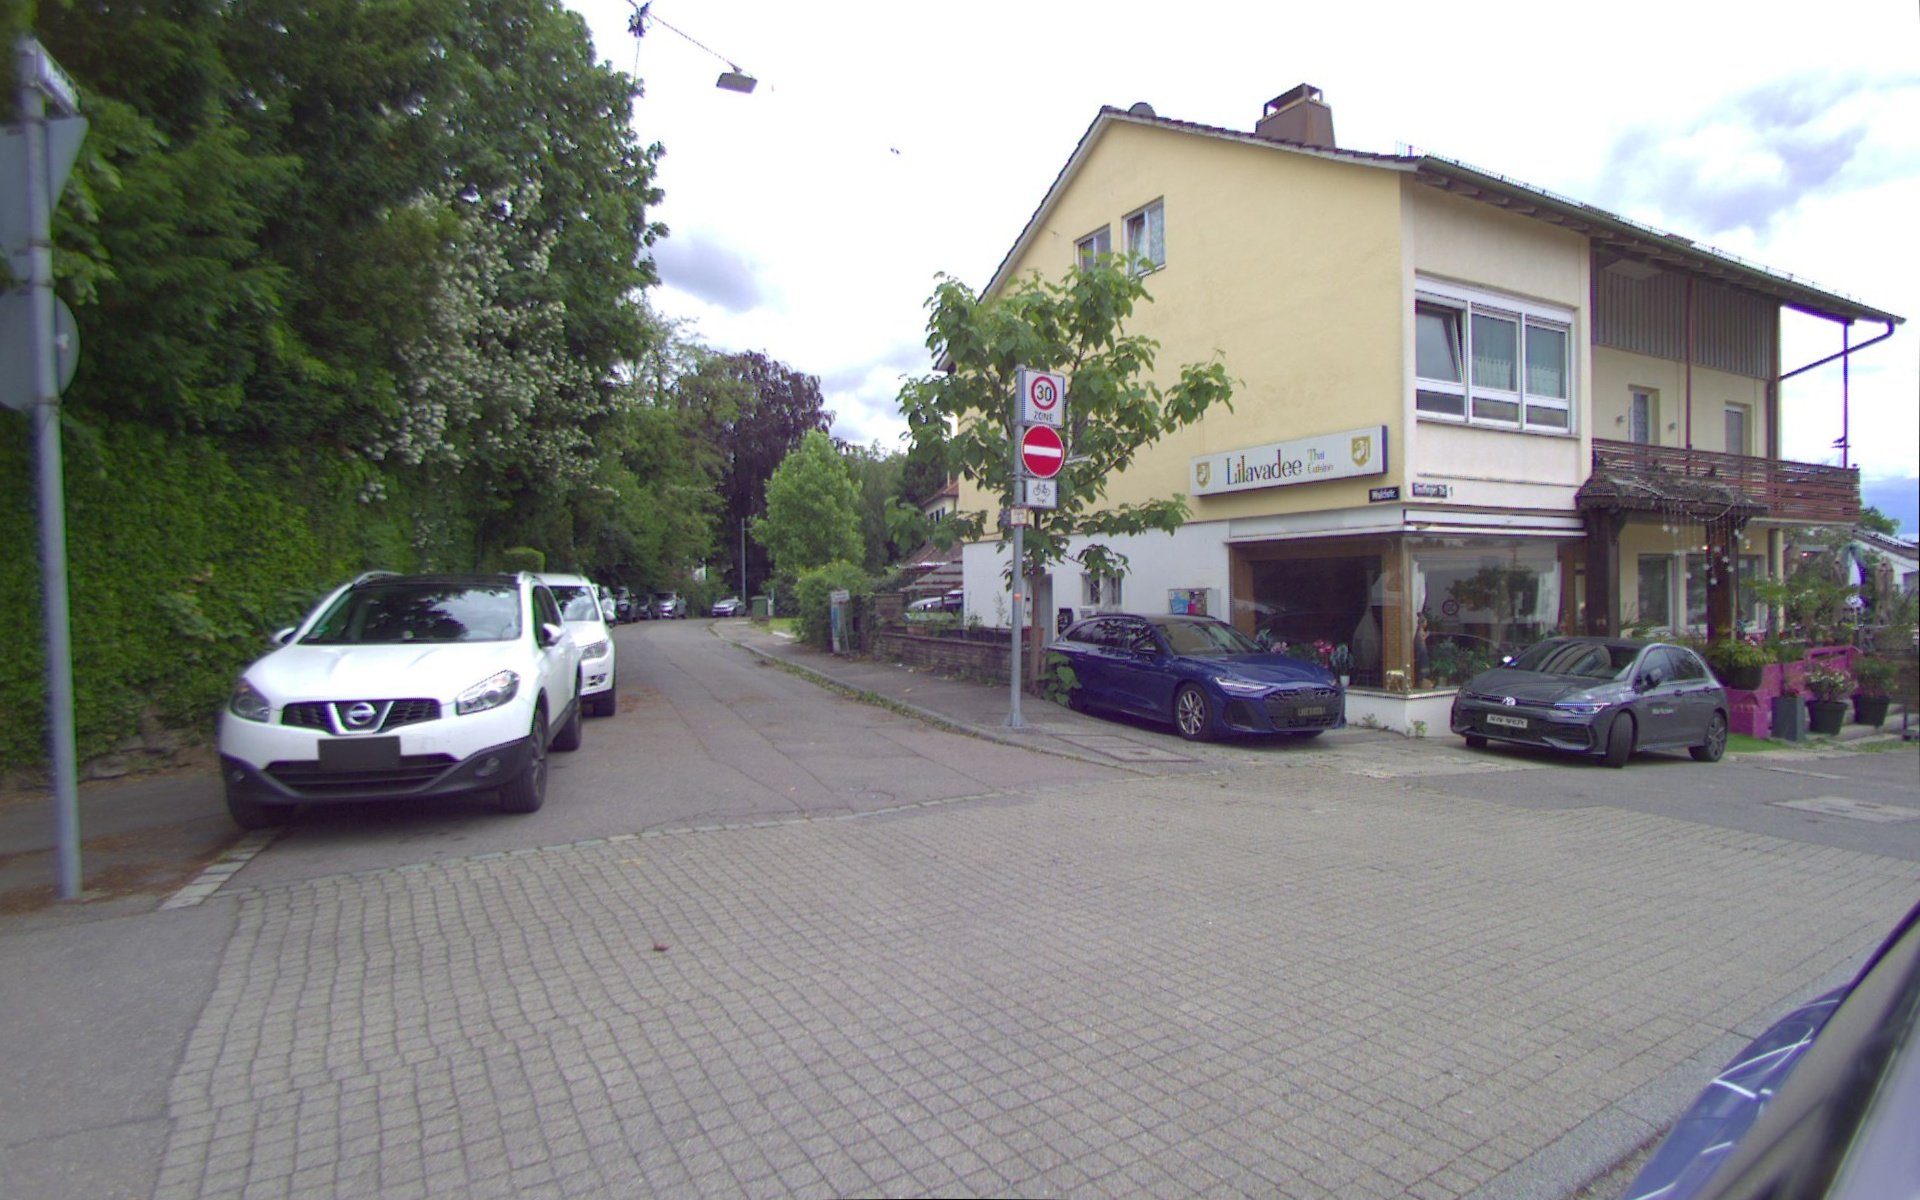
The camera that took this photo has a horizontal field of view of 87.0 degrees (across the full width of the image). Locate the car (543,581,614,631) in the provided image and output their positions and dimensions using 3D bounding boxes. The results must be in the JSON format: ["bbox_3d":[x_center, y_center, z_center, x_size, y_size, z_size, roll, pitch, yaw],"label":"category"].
[{"bbox_3d":[-12.215,0.133,32.593,1.542,1.502,3.745,-1,1,-11],"label":"car"}]

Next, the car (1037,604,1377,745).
[{"bbox_3d":[2.916,0.823,13.211,1.761,1.405,4.758,2,0,-23],"label":"car"}]

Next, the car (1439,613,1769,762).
[{"bbox_3d":[7.944,1.060,12.371,4.242,1.480,1.800,5,-2,-34],"label":"car"}]

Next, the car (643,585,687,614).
[{"bbox_3d":[-16.236,-0.048,55.796,1.543,1.502,3.476,0,1,-3],"label":"car"}]

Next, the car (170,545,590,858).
[{"bbox_3d":[-3.866,0.503,7.555,1.761,1.643,4.144,-1,1,-16],"label":"car"}]

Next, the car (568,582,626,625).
[{"bbox_3d":[-13.420,0.098,37.547,1.542,1.502,3.481,-1,1,-11],"label":"car"}]

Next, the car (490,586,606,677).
[{"bbox_3d":[-7.489,0.474,18.642,1.761,1.441,4.080,-1,1,-20],"label":"car"}]

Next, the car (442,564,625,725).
[{"bbox_3d":[-5.176,0.429,12.610,1.761,1.643,4.080,-1,1,-20],"label":"car"}]

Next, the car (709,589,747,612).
[{"bbox_3d":[-16.342,0.020,71.458,1.547,1.502,3.468,0,1,7],"label":"car"}]

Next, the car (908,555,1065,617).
[{"bbox_3d":[0.786,-0.376,30.209,4.235,1.480,1.802,4,-2,-19],"label":"car"}]

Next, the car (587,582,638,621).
[{"bbox_3d":[-14.204,0.038,41.527,1.542,1.502,3.481,-1,1,-11],"label":"car"}]

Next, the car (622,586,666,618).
[{"bbox_3d":[-15.913,0.068,51.113,1.542,1.502,3.479,-1,1,-8],"label":"car"}]
